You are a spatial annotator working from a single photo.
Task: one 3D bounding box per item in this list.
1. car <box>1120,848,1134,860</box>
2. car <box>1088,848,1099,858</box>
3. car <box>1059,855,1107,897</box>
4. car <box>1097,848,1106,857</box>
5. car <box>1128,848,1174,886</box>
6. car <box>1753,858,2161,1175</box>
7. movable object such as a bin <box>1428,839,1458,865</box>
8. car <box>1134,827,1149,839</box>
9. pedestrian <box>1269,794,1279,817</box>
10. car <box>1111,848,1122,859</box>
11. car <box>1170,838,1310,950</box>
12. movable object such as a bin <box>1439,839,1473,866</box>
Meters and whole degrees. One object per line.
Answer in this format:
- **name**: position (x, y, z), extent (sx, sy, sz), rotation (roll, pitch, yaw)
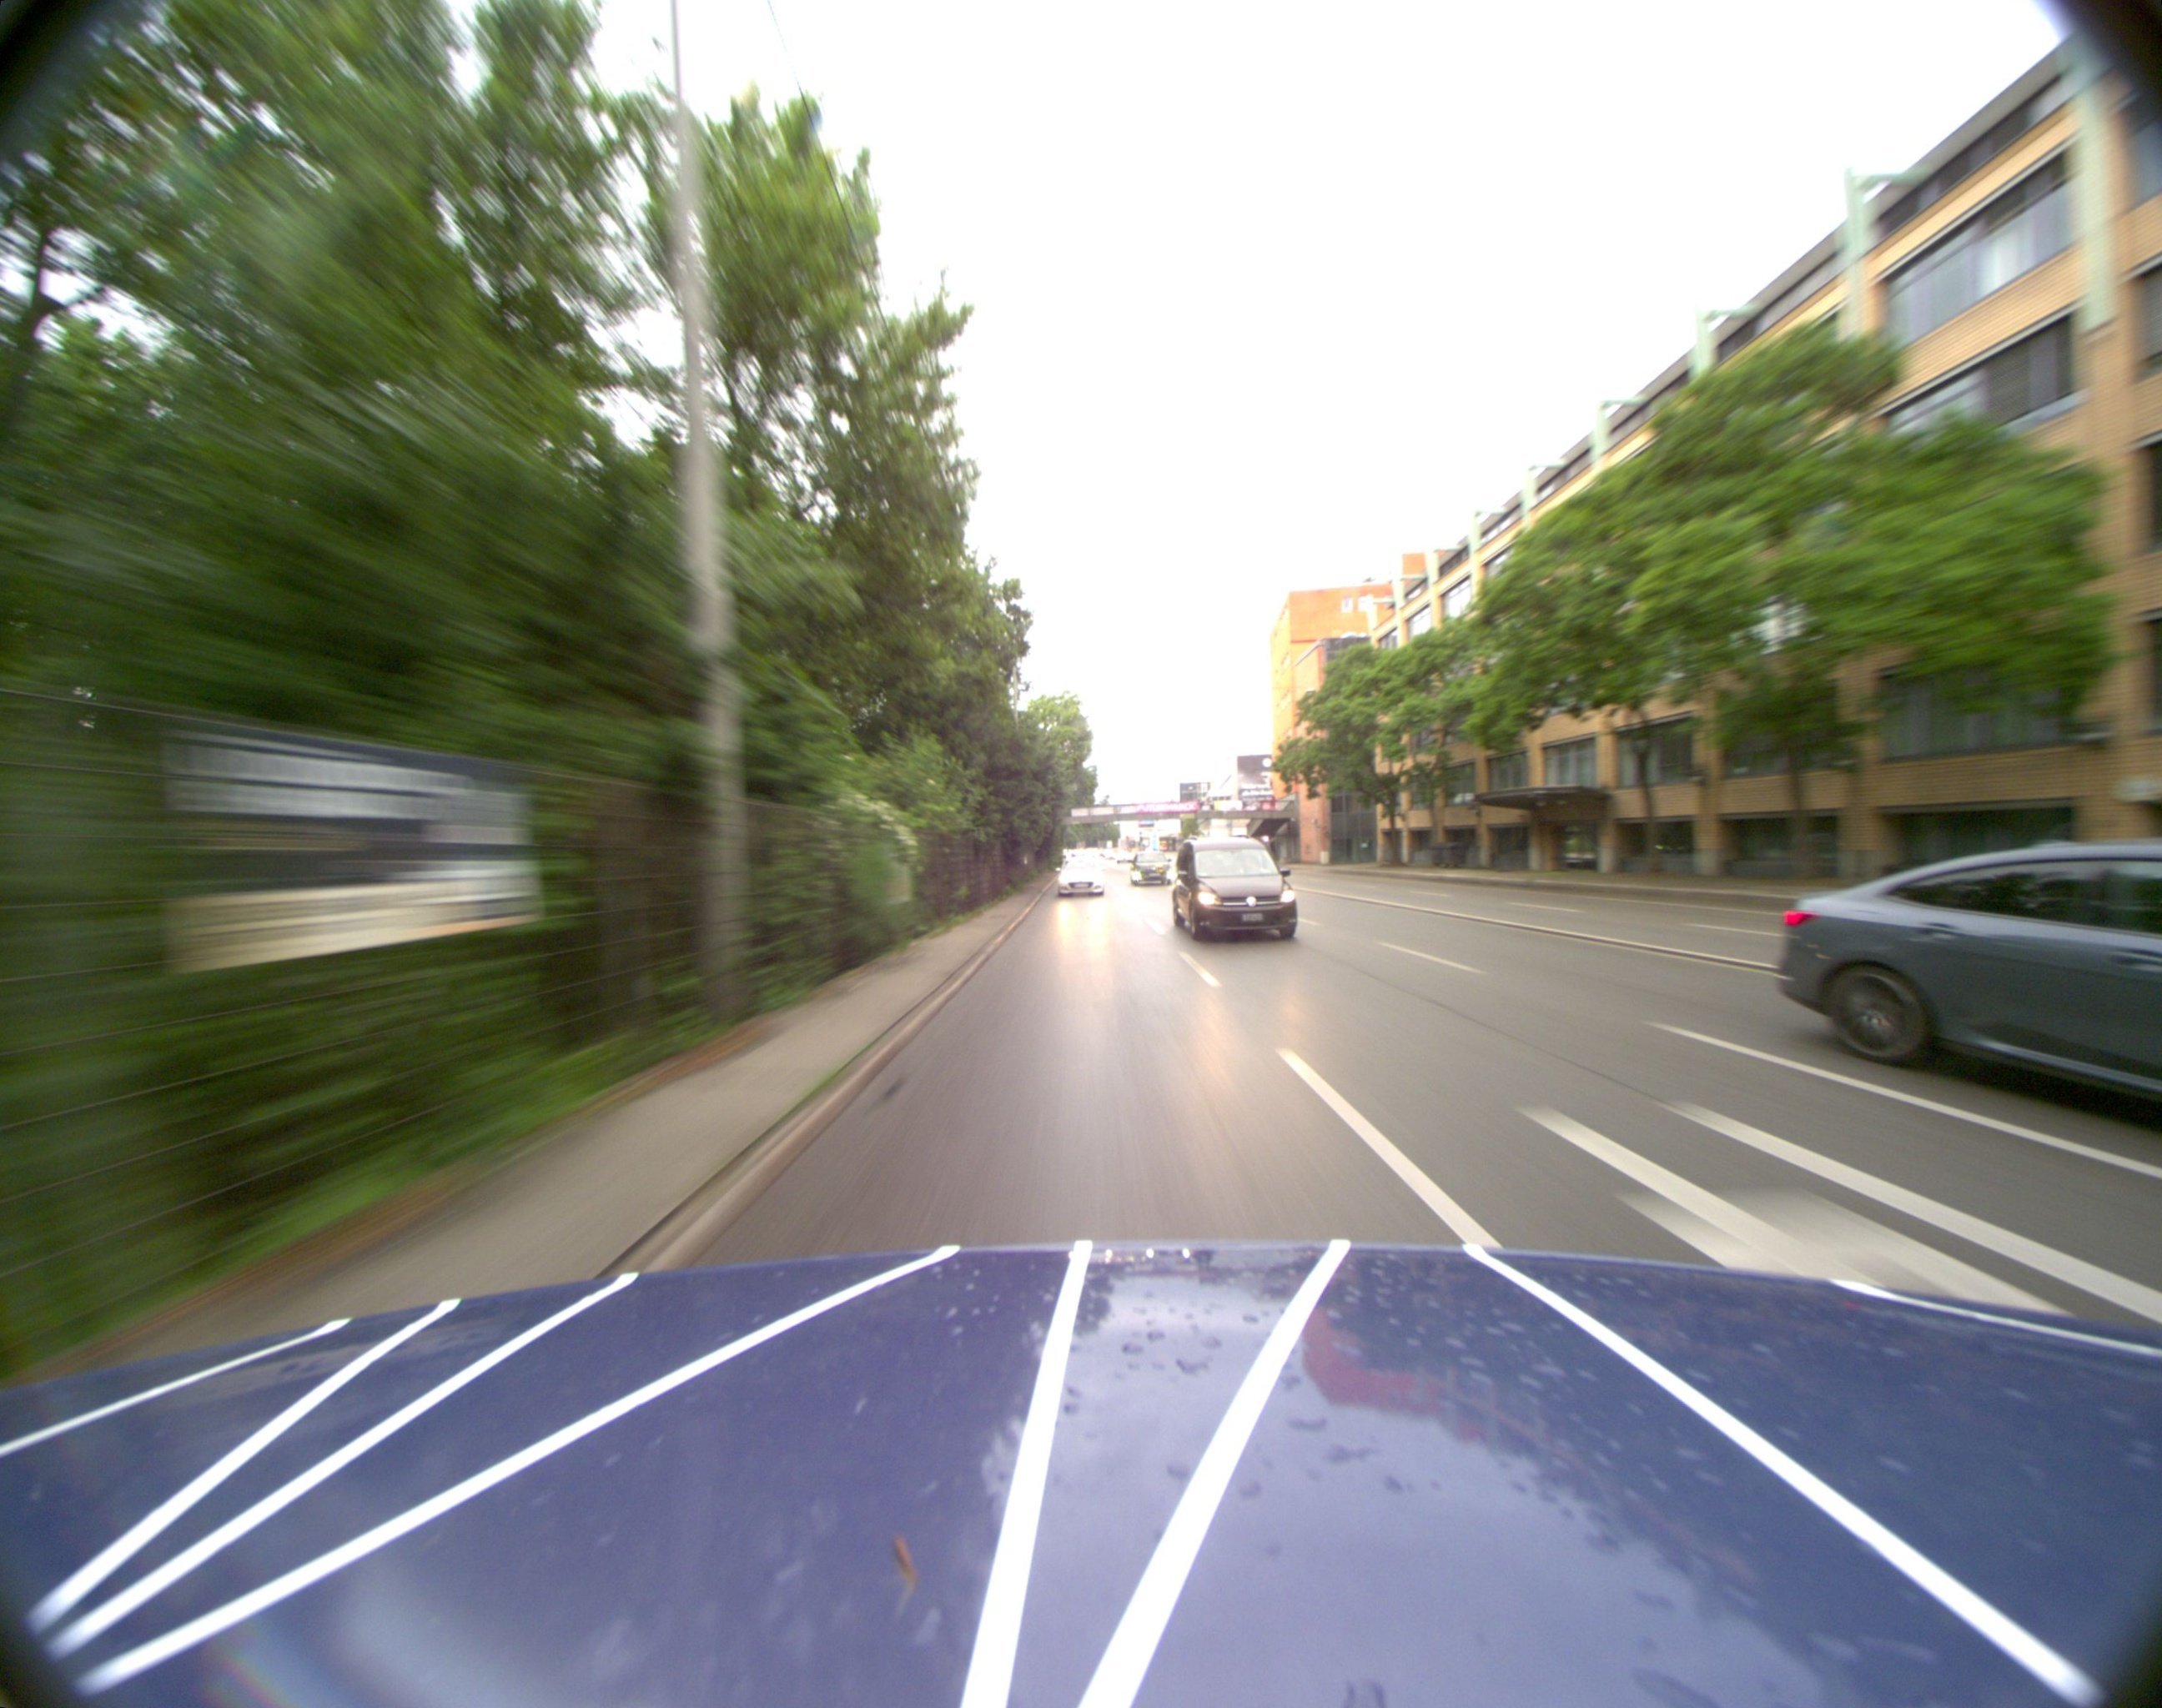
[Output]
- **car**: position (6.357, -0.024, 104.807), extent (1.730, 1.502, 3.732), rotation (-3, 1, 5)
- **car**: position (2.459, -0.254, 149.823), extent (1.878, 1.762, 3.999), rotation (-4, 1, 1)
- **car**: position (0.063, 0.831, 30.147), extent (1.731, 1.431, 3.999), rotation (-3, 1, 0)
- **car**: position (4.883, -0.393, 181.716), extent (1.878, 1.762, 3.999), rotation (-4, 1, 1)
- **car**: position (3.319, 0.576, 36.697), extent (1.731, 1.604, 3.999), rotation (-3, 1, 0)
- **car**: position (5.852, 0.774, 3.422), extent (1.669, 1.407, 4.539), rotation (-1, 1, 1)
- **movable object such as a bin**: position (20.792, -0.095, 43.625), extent (0.976, 1.428, 1.313), rotation (-4, 1, -4)
- **car**: position (8.394, -2.936, 105.400), extent (1.823, 1.603, 4.001), rotation (-4, 1, 6)
- **pedestrian**: position (19.777, -4.949, 77.787), extent (0.833, 2.242, 0.738), rotation (-1, 2, -5)
- **car**: position (6.468, -0.099, 138.971), extent (1.878, 1.762, 3.999), rotation (-4, 1, 1)
- **car**: position (2.781, 0.636, 14.170), extent (1.842, 1.780, 4.000), rotation (-1, 0, 1)
- **movable object such as a bin**: position (20.869, -0.100, 42.272), extent (1.071, 1.428, 1.372), rotation (-4, 1, -4)
